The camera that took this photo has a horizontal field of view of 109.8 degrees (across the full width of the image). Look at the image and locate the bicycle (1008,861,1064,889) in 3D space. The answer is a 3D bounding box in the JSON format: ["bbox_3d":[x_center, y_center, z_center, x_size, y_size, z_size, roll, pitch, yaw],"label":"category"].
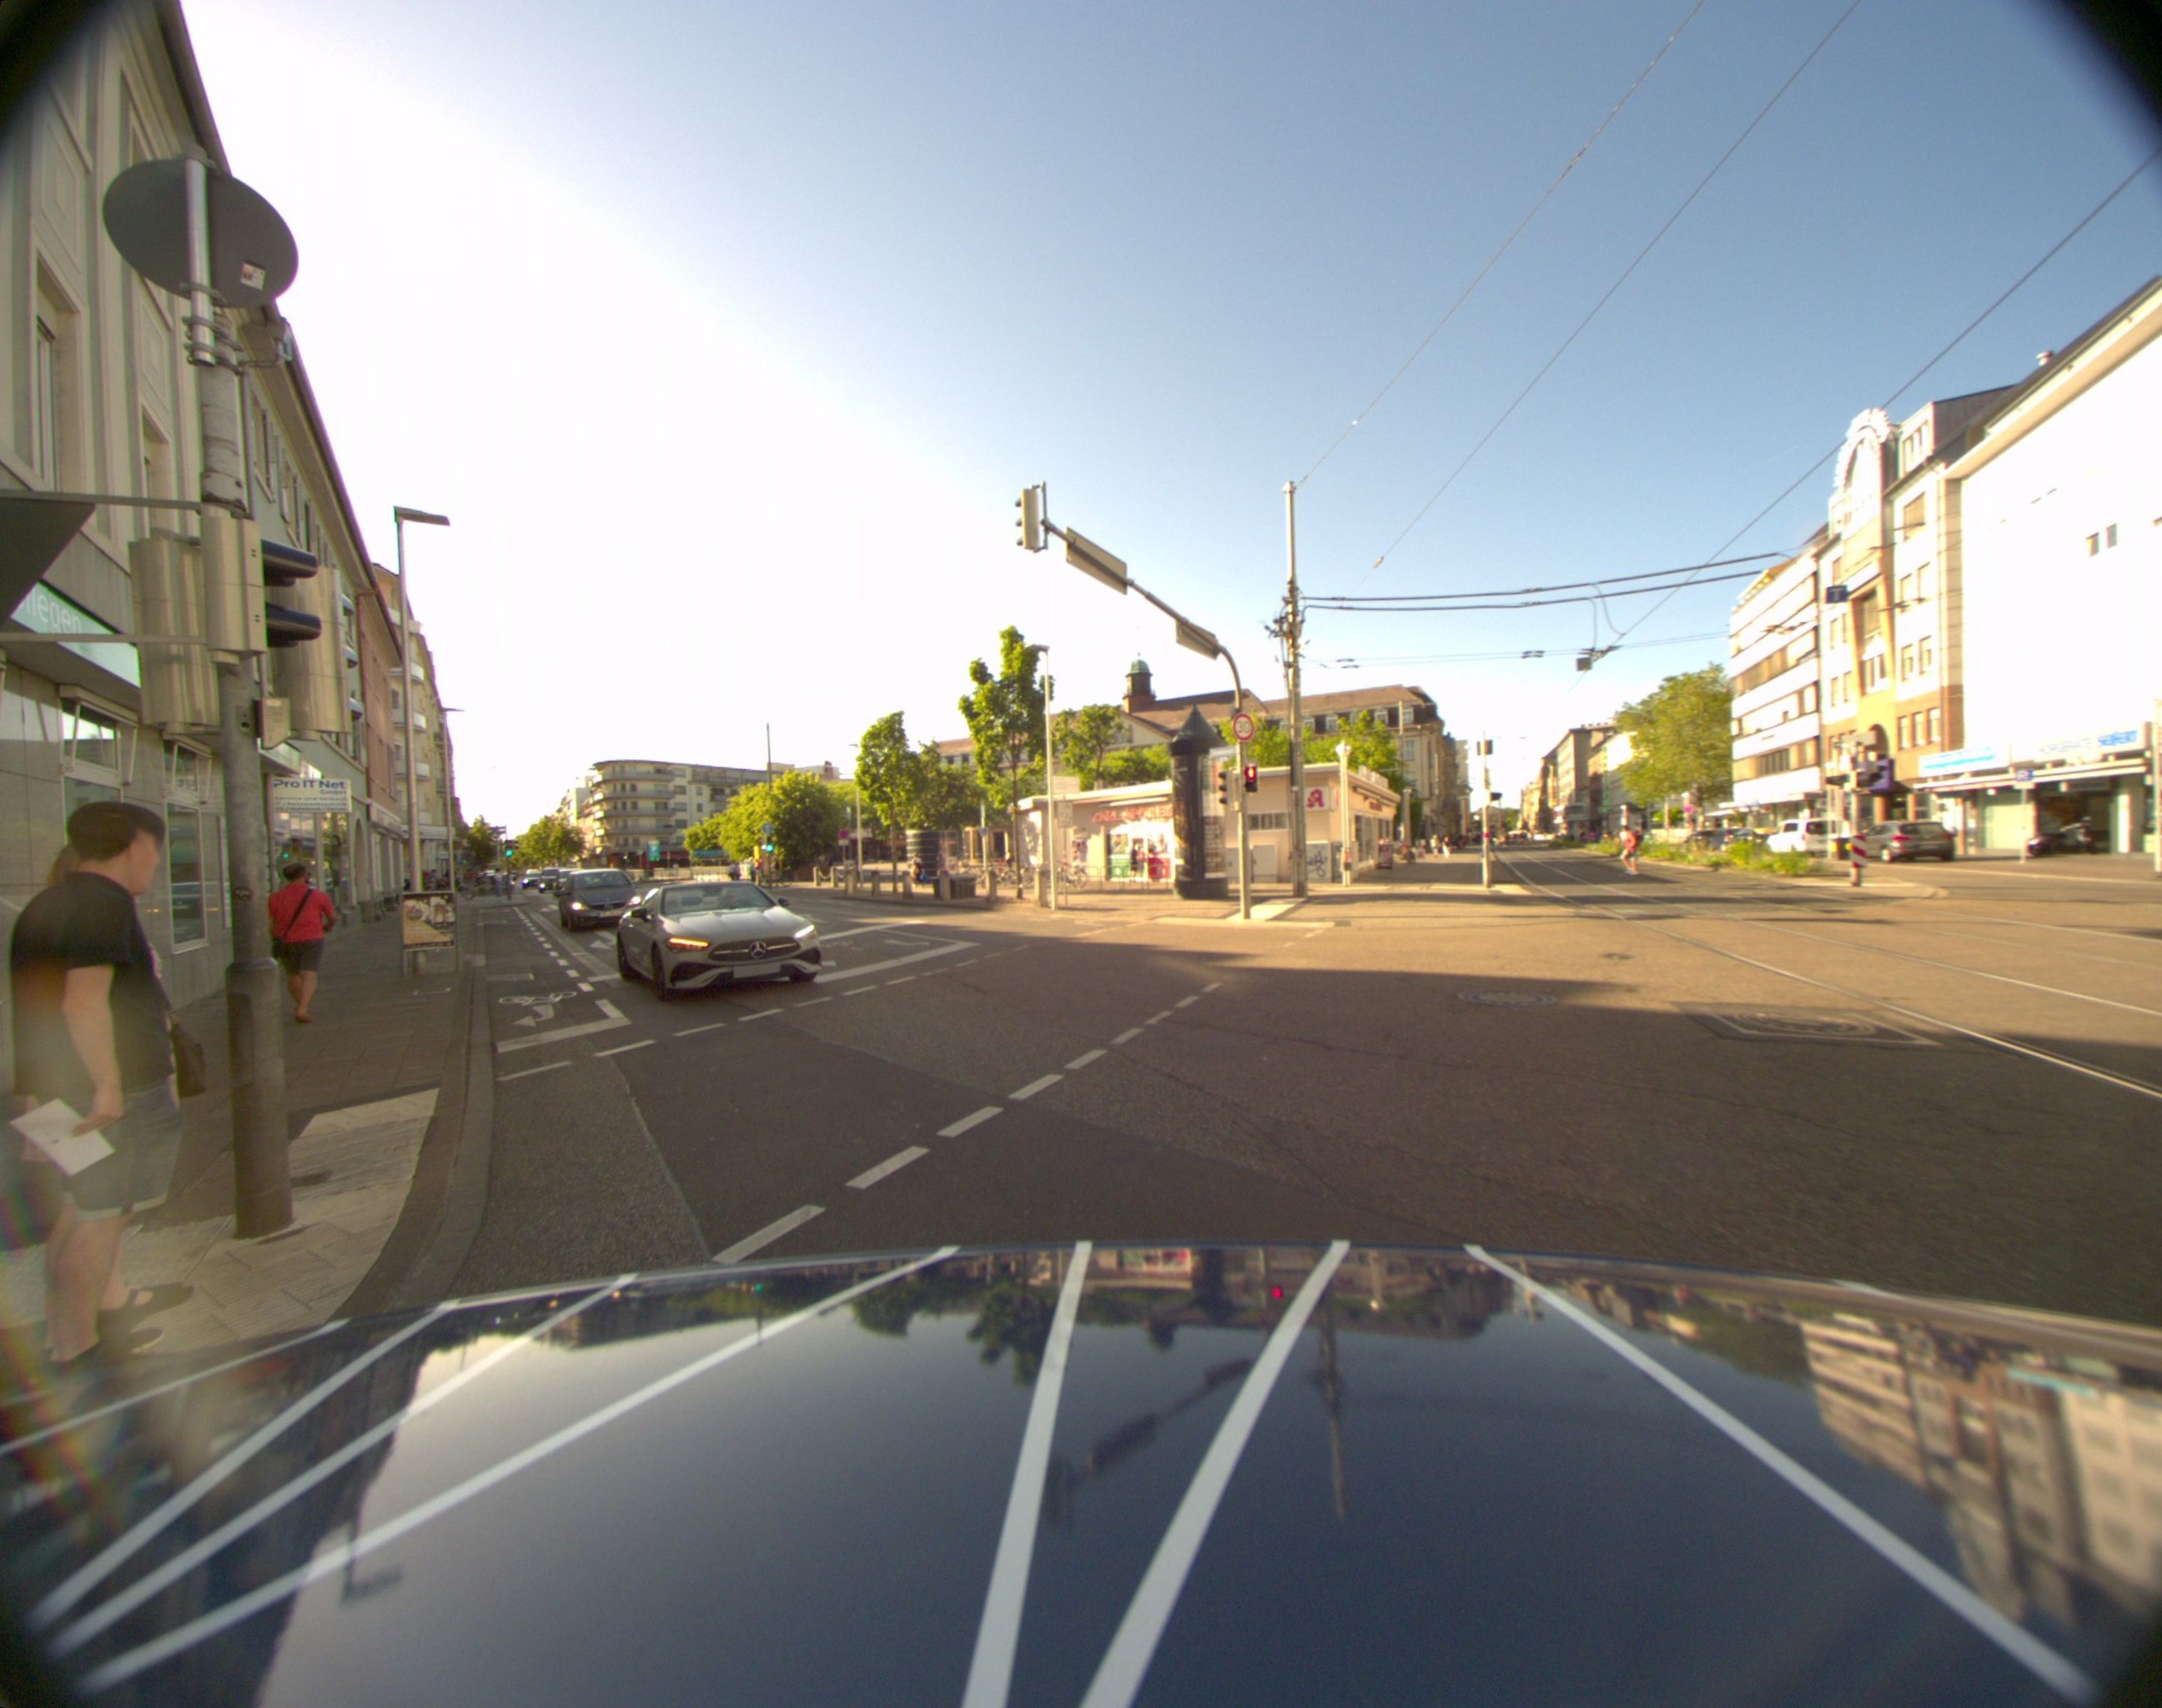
[{"bbox_3d":[-1.822,0.839,30.784,2.021,0.996,0.886,-3,1,-24],"label":"bicycle"}]

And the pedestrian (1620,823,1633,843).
[{"bbox_3d":[46.407,-1.790,64.615,0.707,1.705,0.579,-3,1,-19],"label":"pedestrian"}]

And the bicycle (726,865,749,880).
[{"bbox_3d":[-26.685,1.430,59.030,1.533,1.025,0.363,-3,2,-23],"label":"bicycle"}]

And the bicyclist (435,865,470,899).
[{"bbox_3d":[-32.618,1.429,39.446,1.132,1.675,0.725,-3,1,-11],"label":"bicyclist"}]

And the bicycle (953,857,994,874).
[{"bbox_3d":[-7.032,0.749,49.663,2.575,1.001,0.784,-3,1,-15],"label":"bicycle"}]

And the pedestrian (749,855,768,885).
[{"bbox_3d":[-19.981,0.976,47.109,0.783,1.801,0.589,-2,1,8],"label":"pedestrian"}]

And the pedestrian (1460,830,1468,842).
[{"bbox_3d":[43.963,-2.085,87.191,0.689,1.372,0.781,-1,1,29],"label":"pedestrian"}]

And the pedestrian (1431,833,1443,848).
[{"bbox_3d":[33.875,-1.278,72.380,0.945,1.456,0.781,-2,1,29],"label":"pedestrian"}]

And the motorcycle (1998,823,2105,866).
[{"bbox_3d":[36.183,-0.337,28.367,2.250,1.496,1.002,-2,1,25],"label":"motorcycle"}]

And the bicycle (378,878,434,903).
[{"bbox_3d":[-34.252,1.841,38.588,1.921,1.090,0.732,-3,1,-16],"label":"bicycle"}]

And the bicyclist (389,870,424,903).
[{"bbox_3d":[-34.180,1.633,38.541,1.031,1.574,0.725,-3,1,-16],"label":"bicyclist"}]

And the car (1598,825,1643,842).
[{"bbox_3d":[61.892,-2.334,87.200,3.990,1.787,2.003,-2,1,28],"label":"car"}]

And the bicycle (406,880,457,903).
[{"bbox_3d":[-32.693,1.872,38.252,0.563,0.988,1.825,-2,1,30],"label":"bicycle"}]

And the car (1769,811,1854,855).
[{"bbox_3d":[36.415,-1.032,38.020,1.995,2.002,4.850,-2,1,31],"label":"car"}]

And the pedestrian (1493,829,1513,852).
[{"bbox_3d":[54.538,-1.735,98.173,1.946,2.775,1.381,-1,2,37],"label":"pedestrian"}]

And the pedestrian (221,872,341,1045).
[{"bbox_3d":[-8.467,1.046,8.090,0.693,1.693,0.910,-2,1,-37],"label":"pedestrian"}]

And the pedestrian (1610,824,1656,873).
[{"bbox_3d":[19.239,-0.193,26.496,0.945,1.654,0.917,-2,1,3],"label":"pedestrian"}]

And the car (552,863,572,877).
[{"bbox_3d":[-73.094,2.241,107.034,2.004,1.935,4.770,0,-1,-39],"label":"car"}]

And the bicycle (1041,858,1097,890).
[{"bbox_3d":[-0.447,0.733,28.955,1.998,1.082,0.752,-4,2,-36],"label":"bicycle"}]

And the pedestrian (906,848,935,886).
[{"bbox_3d":[-7.416,0.606,35.103,0.904,1.688,1.083,-4,2,-34],"label":"pedestrian"}]

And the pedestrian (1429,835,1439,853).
[{"bbox_3d":[26.366,-0.750,56.760,0.621,1.266,0.781,-2,1,21],"label":"pedestrian"}]

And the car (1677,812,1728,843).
[{"bbox_3d":[43.612,-1.858,53.393,1.995,2.002,4.006,-2,1,28],"label":"car"}]

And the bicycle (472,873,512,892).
[{"bbox_3d":[-37.946,1.839,48.982,2.032,1.143,0.714,-2,1,-37],"label":"bicycle"}]

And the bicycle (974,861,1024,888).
[{"bbox_3d":[-3.479,0.863,32.264,1.893,0.997,0.763,-4,2,-30],"label":"bicycle"}]

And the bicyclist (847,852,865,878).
[{"bbox_3d":[-14.302,0.669,48.260,0.944,1.599,1.168,-3,1,-20],"label":"bicyclist"}]

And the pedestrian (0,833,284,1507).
[{"bbox_3d":[-3.100,0.868,2.399,0.643,1.831,0.680,-3,1,-39],"label":"pedestrian"}]

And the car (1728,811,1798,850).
[{"bbox_3d":[38.682,-1.328,43.232,1.995,2.002,4.006,-2,1,28],"label":"car"}]

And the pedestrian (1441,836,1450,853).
[{"bbox_3d":[27.312,-0.698,56.900,0.508,1.266,0.720,-2,1,23],"label":"pedestrian"}]

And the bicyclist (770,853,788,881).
[{"bbox_3d":[-17.961,0.768,45.223,0.806,1.639,0.992,-3,2,-16],"label":"bicyclist"}]

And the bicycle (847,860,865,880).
[{"bbox_3d":[-14.306,0.998,48.297,0.944,1.126,2.474,-3,1,-20],"label":"bicycle"}]

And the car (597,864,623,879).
[{"bbox_3d":[-45.834,1.666,73.950,1.659,1.389,4.032,3,-3,-38],"label":"car"}]

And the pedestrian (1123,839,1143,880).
[{"bbox_3d":[2.220,0.241,32.268,0.521,1.699,0.610,-3,1,-38],"label":"pedestrian"}]

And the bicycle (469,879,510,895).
[{"bbox_3d":[-35.509,2.000,45.652,1.851,0.826,0.740,-3,1,-43],"label":"bicycle"}]

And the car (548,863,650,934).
[{"bbox_3d":[-13.642,1.166,21.396,2.003,1.718,3.989,-3,1,-38],"label":"car"}]

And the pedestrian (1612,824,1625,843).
[{"bbox_3d":[46.160,-1.746,65.216,0.707,1.615,0.579,-3,1,-19],"label":"pedestrian"}]

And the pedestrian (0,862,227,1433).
[{"bbox_3d":[-3.534,0.922,2.626,0.575,1.749,0.648,-4,2,-39],"label":"pedestrian"}]

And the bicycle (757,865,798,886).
[{"bbox_3d":[-18.059,1.288,45.252,2.177,1.066,0.762,-3,2,-17],"label":"bicycle"}]

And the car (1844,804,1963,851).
[{"bbox_3d":[32.853,-1.049,30.513,1.995,1.696,4.006,-2,1,28],"label":"car"}]

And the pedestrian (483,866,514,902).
[{"bbox_3d":[-28.300,1.462,36.937,0.815,1.649,0.766,-3,2,-1],"label":"pedestrian"}]

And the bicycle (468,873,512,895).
[{"bbox_3d":[-35.690,1.818,45.899,1.950,1.205,0.930,-3,1,-43],"label":"bicycle"}]

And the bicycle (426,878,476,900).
[{"bbox_3d":[-32.748,1.824,39.502,1.916,1.014,0.560,-3,1,-10],"label":"bicycle"}]

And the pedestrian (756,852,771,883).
[{"bbox_3d":[-20.166,0.867,48.203,0.610,1.907,0.782,-4,2,-36],"label":"pedestrian"}]

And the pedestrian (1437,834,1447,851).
[{"bbox_3d":[30.614,-0.964,64.458,0.690,1.372,0.781,-2,1,21],"label":"pedestrian"}]

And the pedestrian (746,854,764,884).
[{"bbox_3d":[-19.867,0.920,46.307,0.782,1.801,0.590,-2,2,26],"label":"pedestrian"}]

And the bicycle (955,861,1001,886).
[{"bbox_3d":[-4.674,0.874,34.583,1.893,0.997,0.763,-4,2,-30],"label":"bicycle"}]

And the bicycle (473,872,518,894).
[{"bbox_3d":[-36.242,1.800,47.049,2.147,1.237,0.709,-3,1,-42],"label":"bicycle"}]

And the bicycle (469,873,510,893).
[{"bbox_3d":[-38.715,1.901,49.734,2.054,1.174,0.681,-3,1,-37],"label":"bicycle"}]

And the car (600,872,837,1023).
[{"bbox_3d":[-5.172,1.068,10.488,1.914,1.454,4.352,-6,3,-38],"label":"car"}]

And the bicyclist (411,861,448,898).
[{"bbox_3d":[-32.728,1.275,38.186,0.751,1.751,1.143,-2,2,30],"label":"bicyclist"}]

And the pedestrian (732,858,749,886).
[{"bbox_3d":[-20.907,1.116,46.640,0.687,1.664,0.697,-3,1,-6],"label":"pedestrian"}]

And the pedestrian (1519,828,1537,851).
[{"bbox_3d":[57.421,-1.869,97.548,1.835,2.775,1.295,-1,2,37],"label":"pedestrian"}]
